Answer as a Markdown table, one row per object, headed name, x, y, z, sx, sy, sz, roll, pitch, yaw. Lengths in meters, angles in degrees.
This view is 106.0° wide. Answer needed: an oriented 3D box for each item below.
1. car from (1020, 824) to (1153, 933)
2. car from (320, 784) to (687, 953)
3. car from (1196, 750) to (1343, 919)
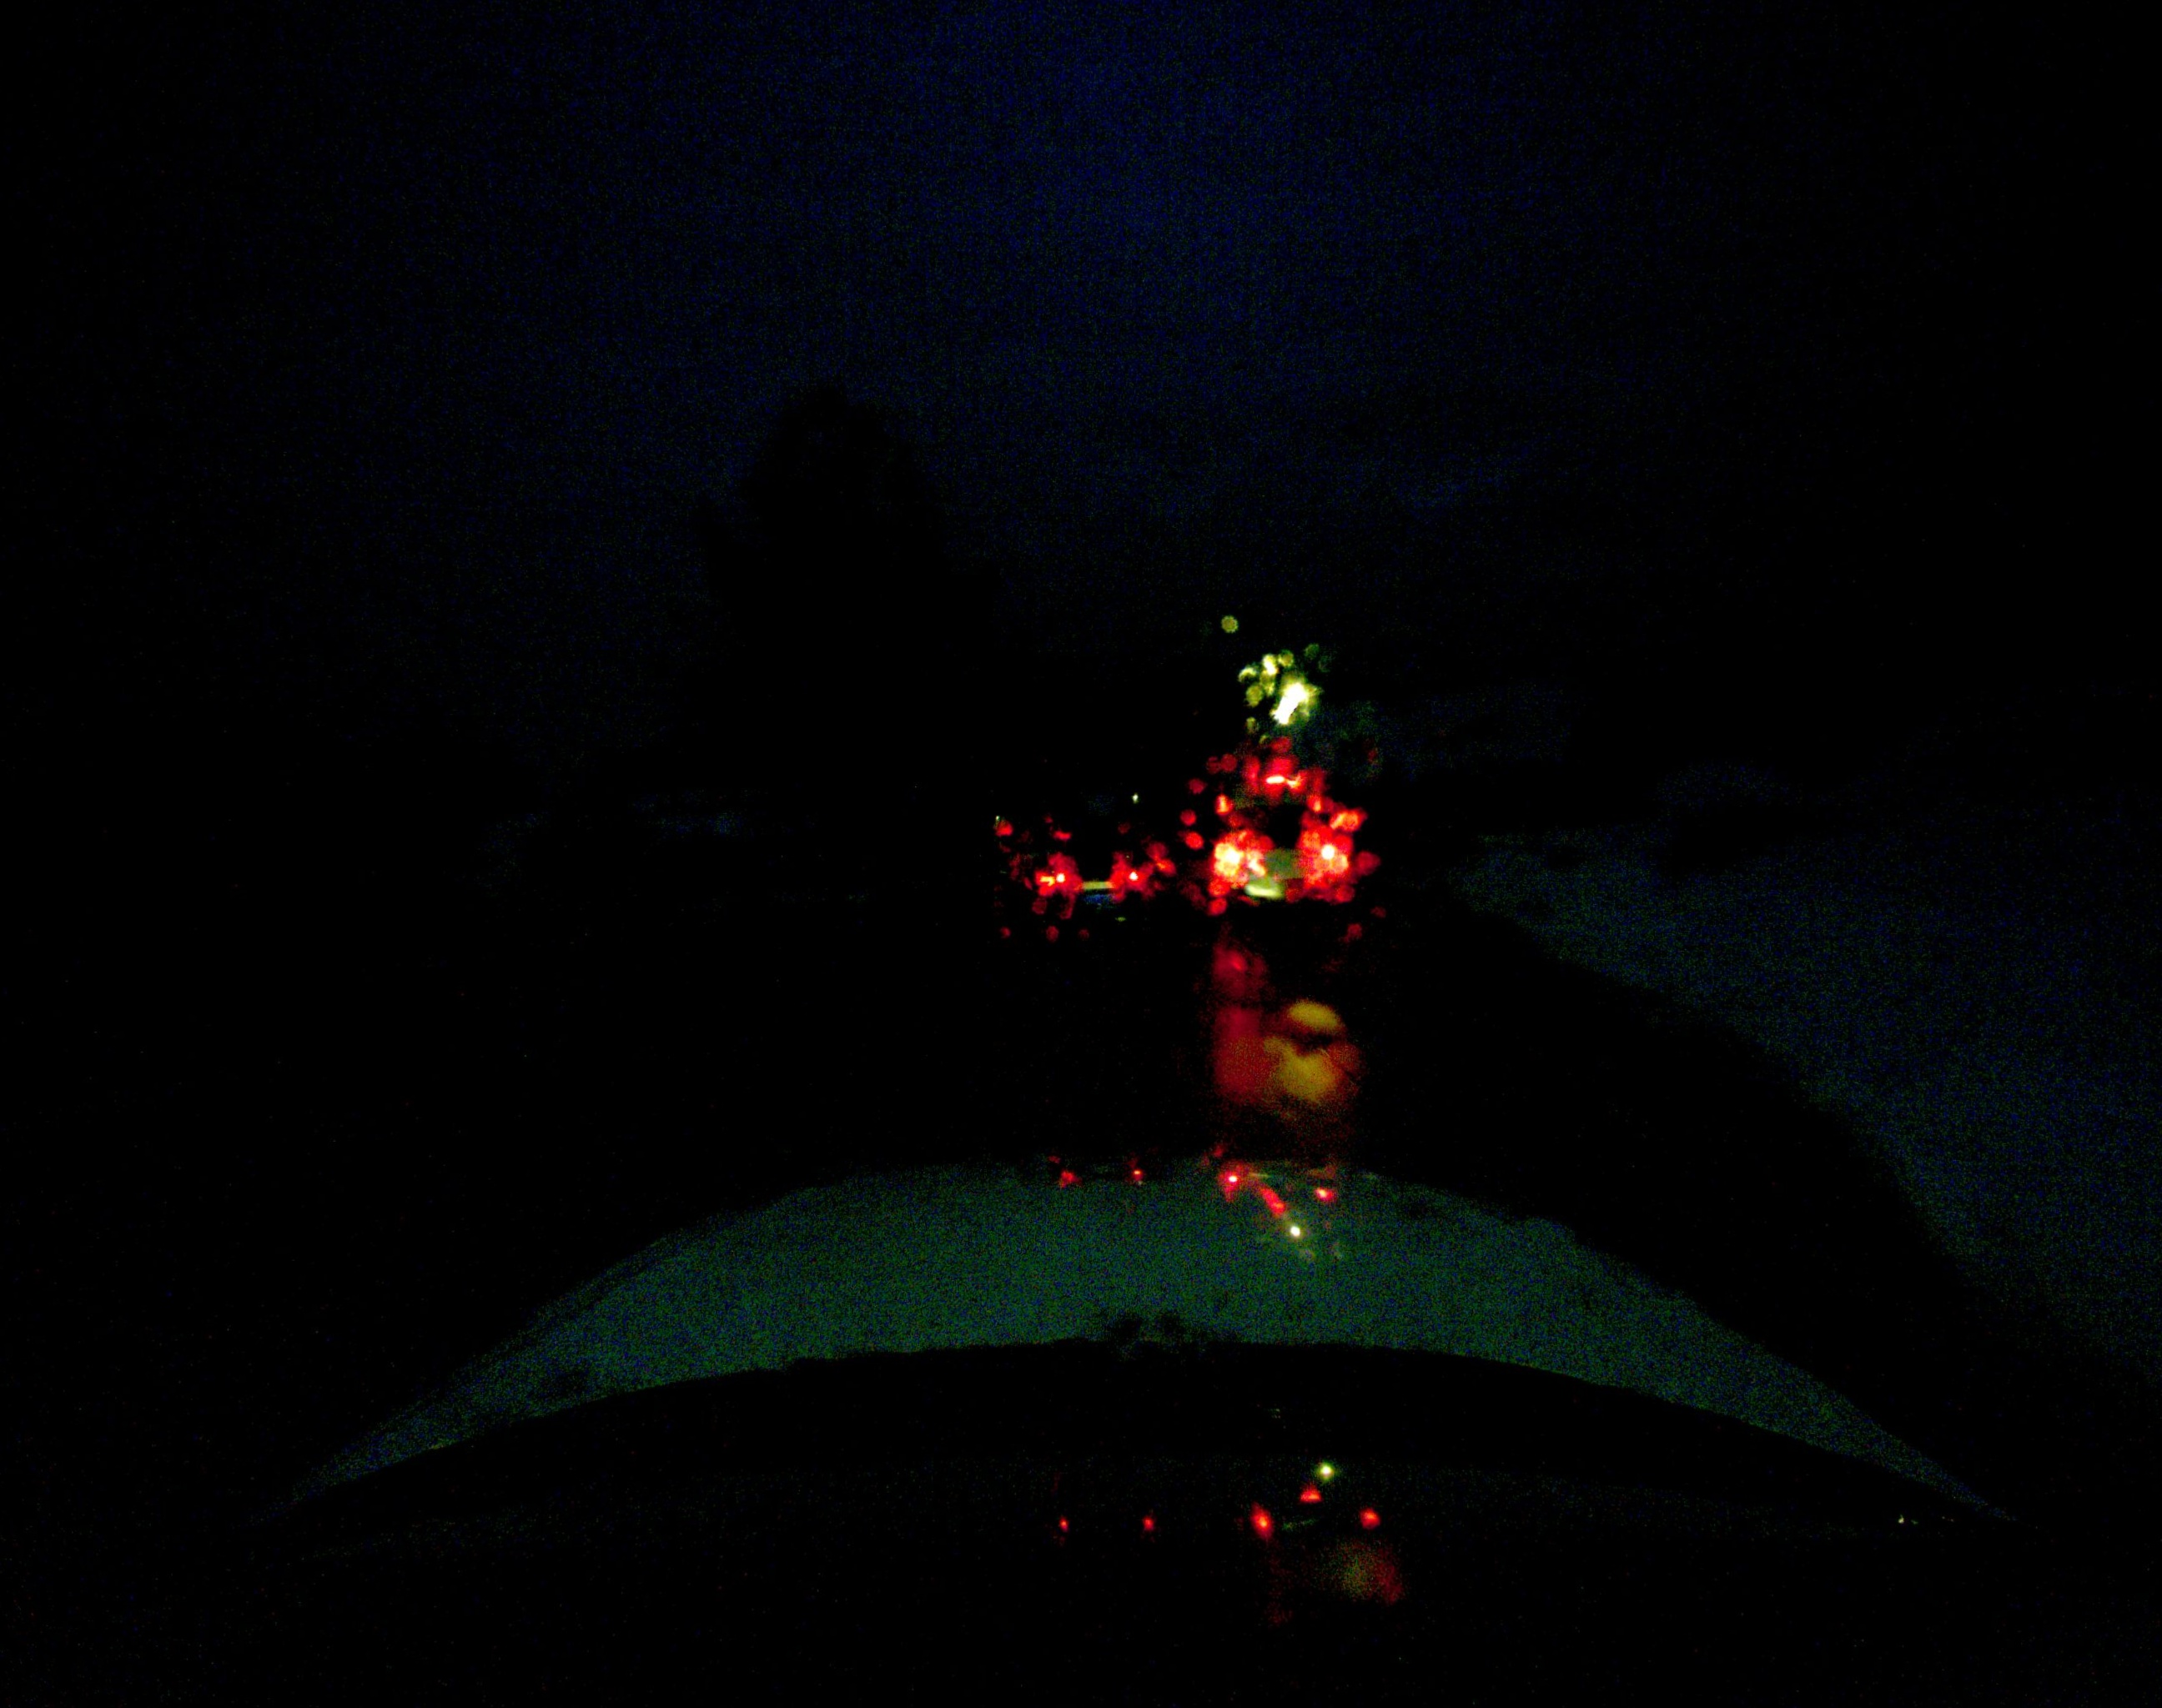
| name | x | y | z | sx | sy | sz | roll | pitch | yaw |
| --- | --- | --- | --- | --- | --- | --- | --- | --- | --- |
| car | 0.177 | 0.406 | 16.665 | 2.265 | 1.840 | 5.009 | -2 | 1 | 2 |
| car | -10.425 | 0.224 | 15.681 | 2.460 | 2.571 | 6.230 | -1 | 0 | 2 |
| car | 3.900 | -0.454 | 17.904 | 2.422 | 3.018 | 5.336 | -3 | 2 | 7 |
